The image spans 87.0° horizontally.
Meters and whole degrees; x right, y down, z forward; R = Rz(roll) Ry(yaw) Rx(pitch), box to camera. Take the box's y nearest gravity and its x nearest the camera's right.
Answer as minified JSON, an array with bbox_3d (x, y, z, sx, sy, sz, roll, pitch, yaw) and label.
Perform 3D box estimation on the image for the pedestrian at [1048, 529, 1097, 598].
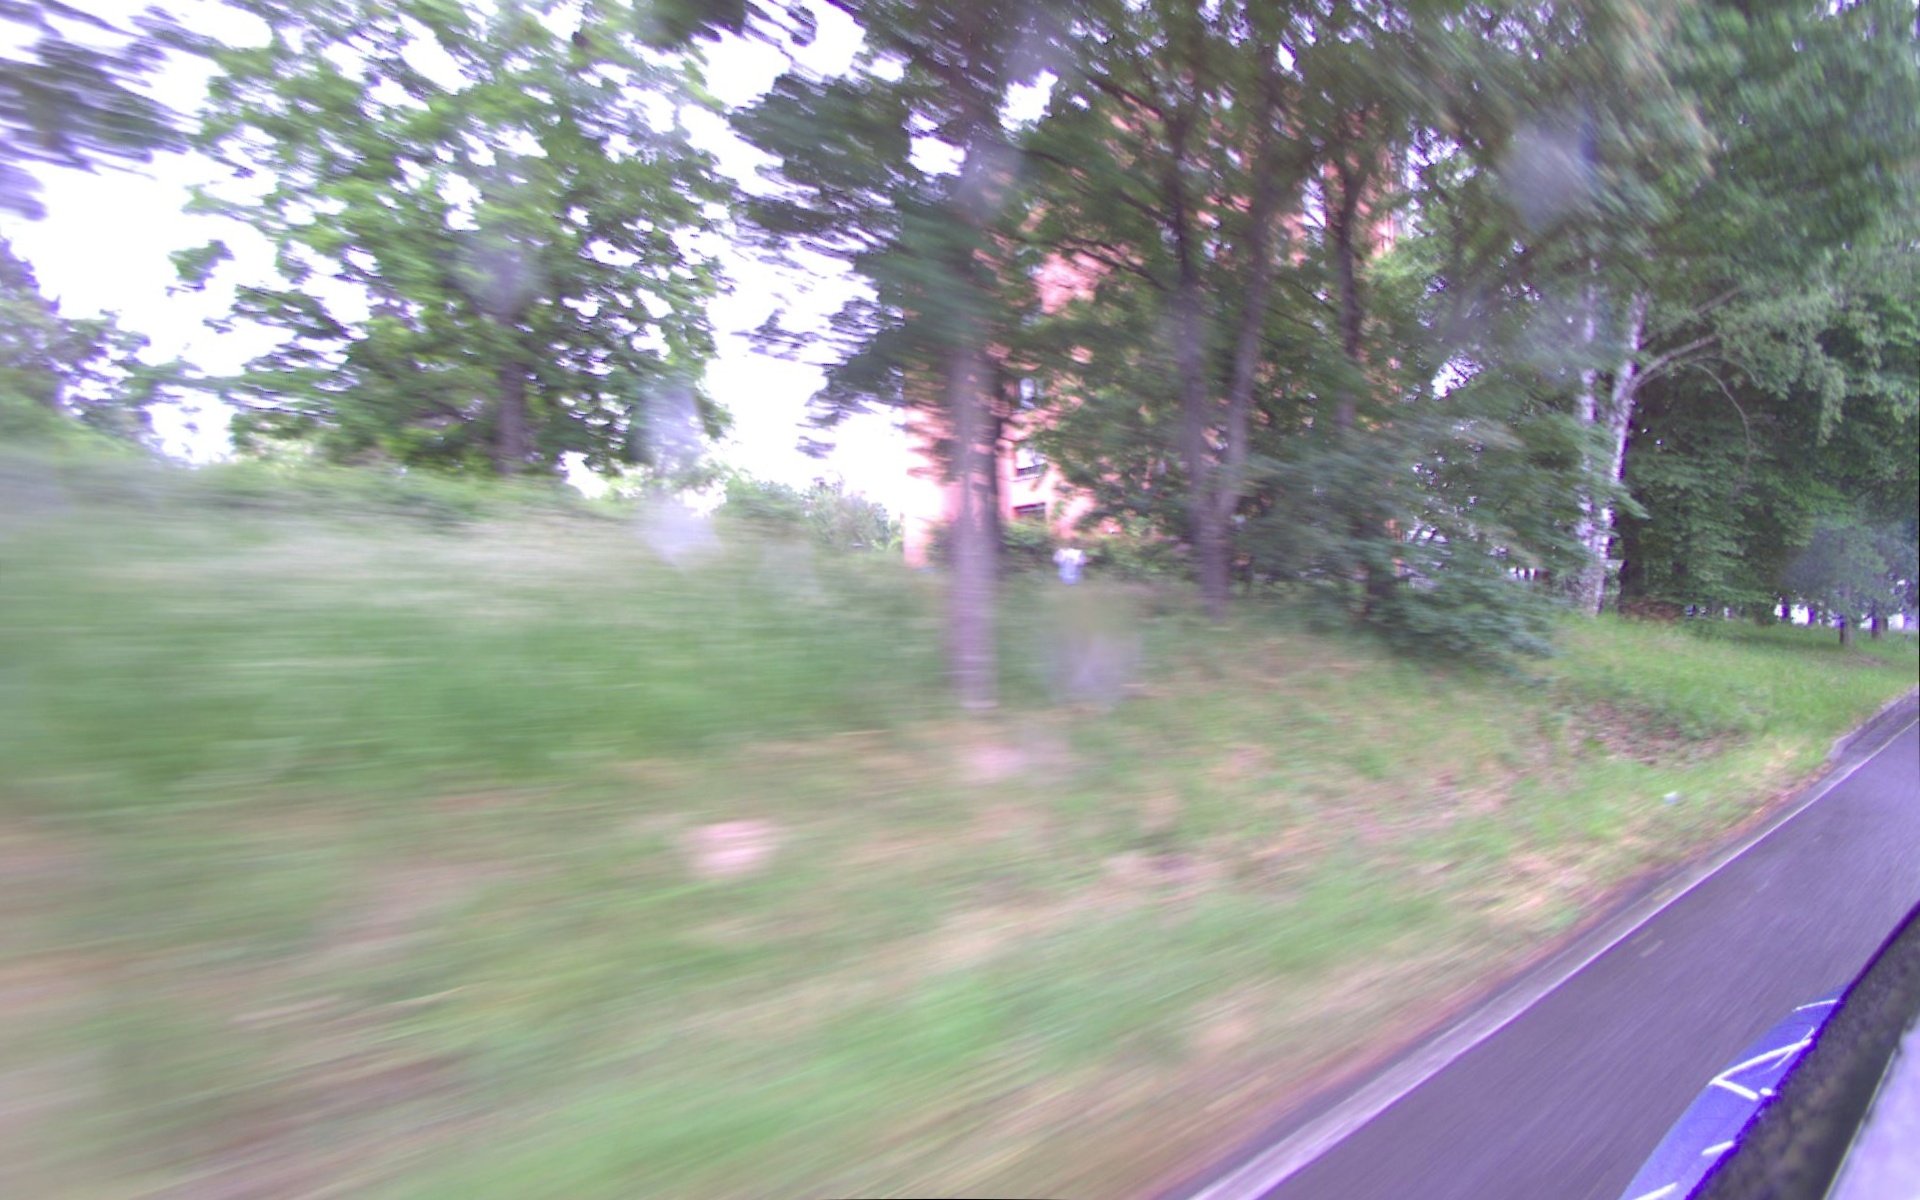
[{"bbox_3d":[2.160,-0.700,19.480,0.613,1.300,0.656,2,1,-38],"label":"pedestrian"}]
